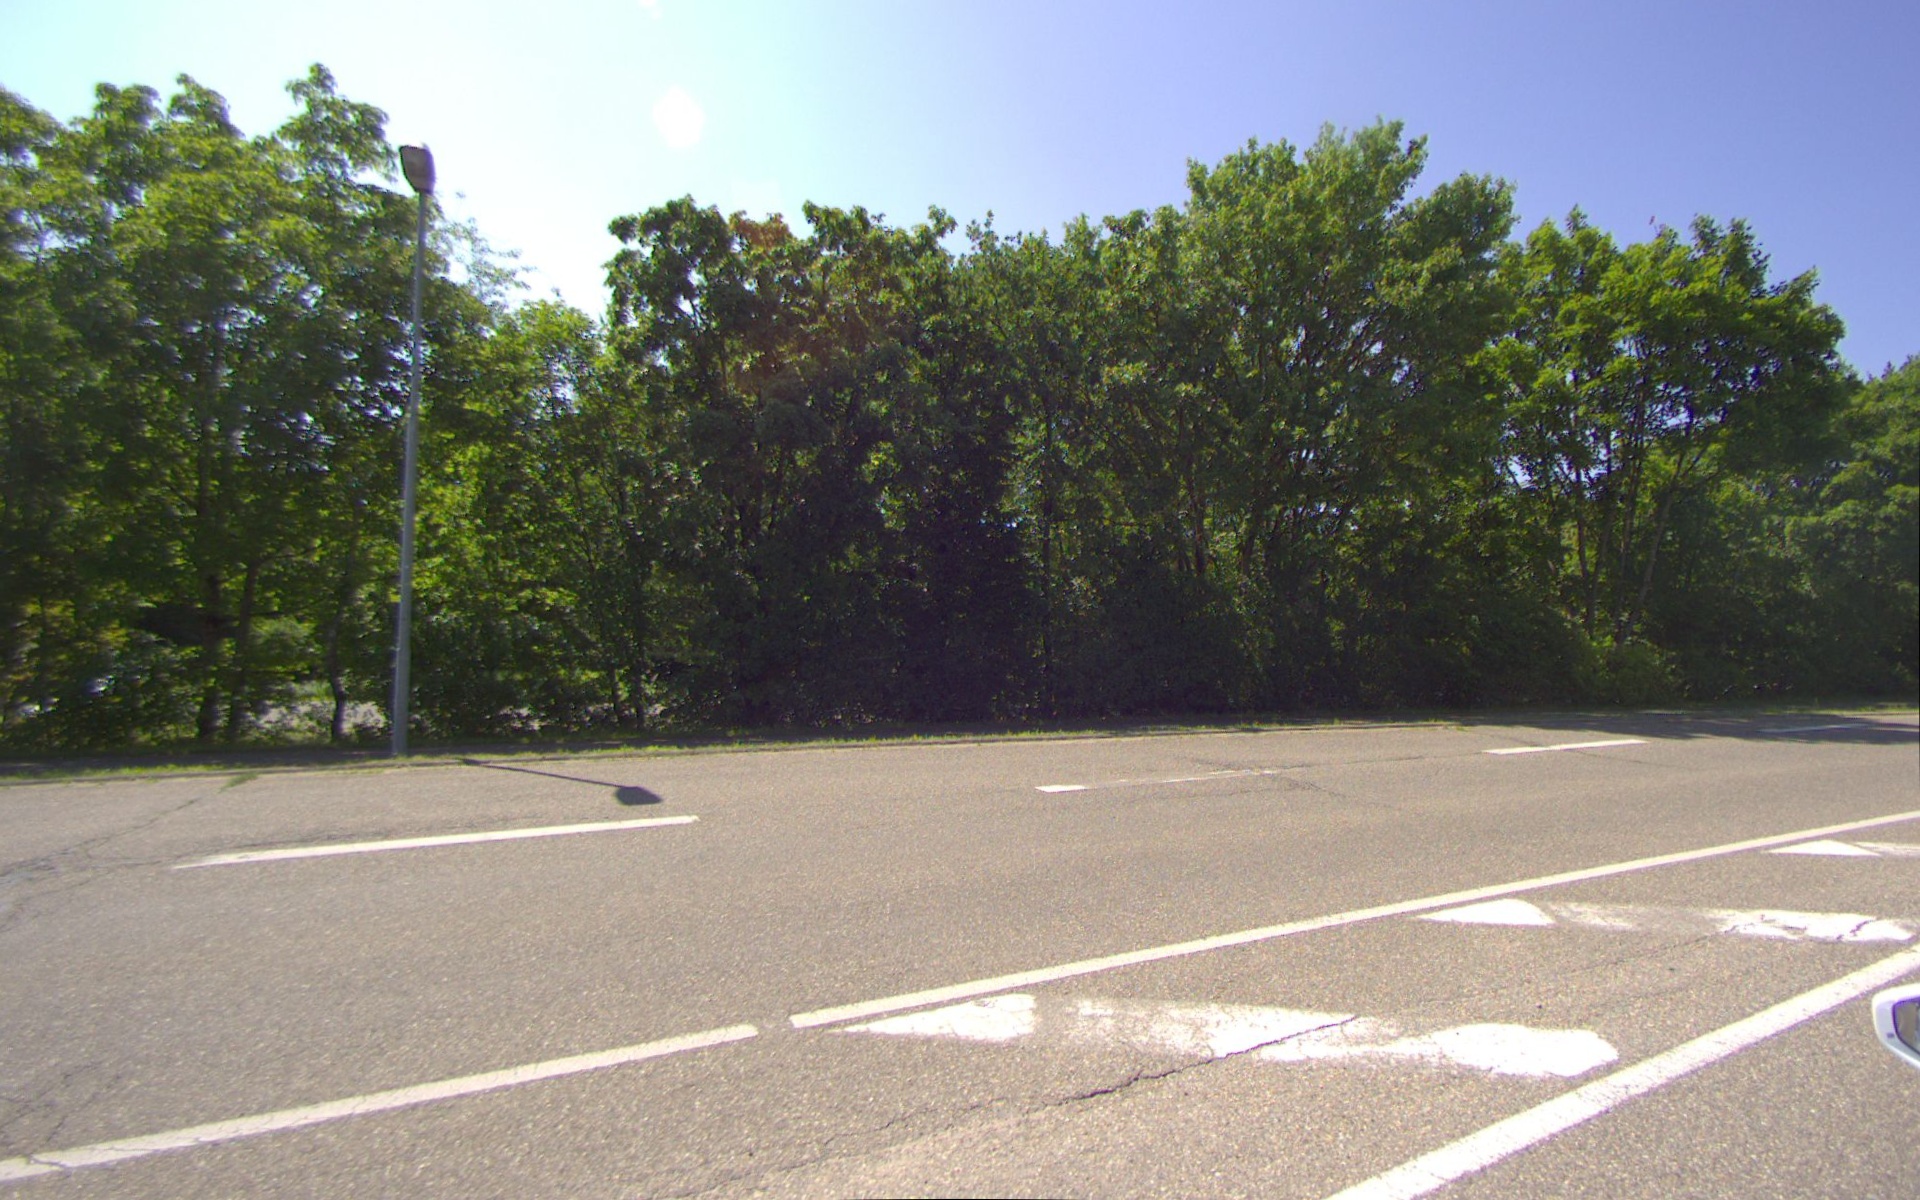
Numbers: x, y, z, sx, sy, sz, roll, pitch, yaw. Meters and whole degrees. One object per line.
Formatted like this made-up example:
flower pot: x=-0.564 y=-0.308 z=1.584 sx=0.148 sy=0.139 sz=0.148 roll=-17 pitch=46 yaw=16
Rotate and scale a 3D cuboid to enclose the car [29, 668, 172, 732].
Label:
car: x=-23.941 y=2.754 z=28.162 sx=1.729 sy=1.513 sz=4.098 roll=3 pitch=-2 yaw=-21
